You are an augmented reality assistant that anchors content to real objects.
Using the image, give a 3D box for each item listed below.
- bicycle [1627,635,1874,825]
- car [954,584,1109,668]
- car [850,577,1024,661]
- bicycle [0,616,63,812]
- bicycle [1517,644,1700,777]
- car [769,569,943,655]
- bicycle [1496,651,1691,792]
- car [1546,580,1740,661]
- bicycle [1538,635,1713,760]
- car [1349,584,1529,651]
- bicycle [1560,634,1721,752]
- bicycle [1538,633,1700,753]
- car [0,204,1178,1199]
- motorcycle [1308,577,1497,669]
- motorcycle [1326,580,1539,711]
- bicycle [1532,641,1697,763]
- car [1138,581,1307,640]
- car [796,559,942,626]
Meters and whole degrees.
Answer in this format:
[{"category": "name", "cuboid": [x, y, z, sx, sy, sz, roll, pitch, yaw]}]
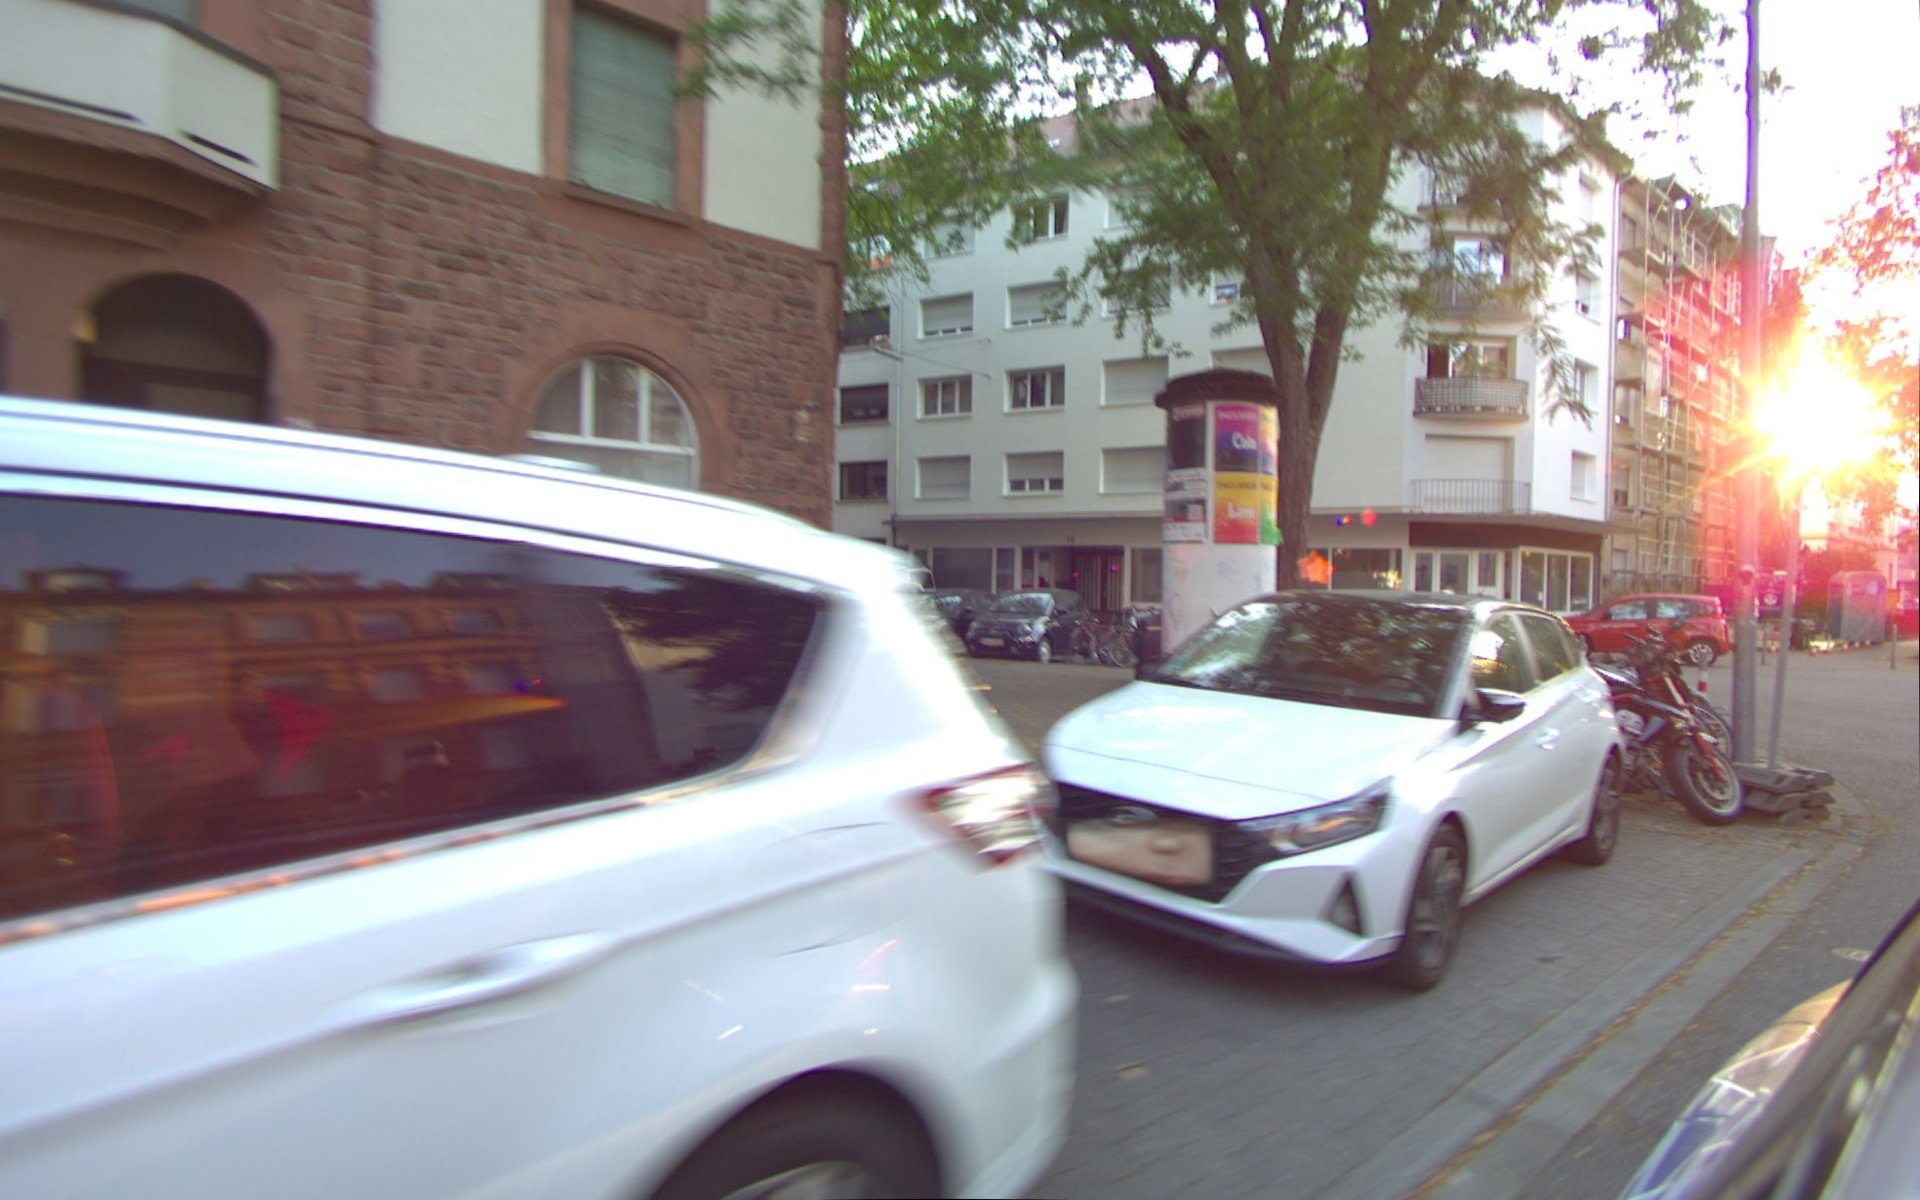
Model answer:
[{"category": "bicycle", "cuboid": [5.407, 0.852, 6.926, 1.602, 1.187, 0.446, 0, 1, -15]}, {"category": "car", "cuboid": [1.495, 0.435, 20.105, 1.669, 1.496, 3.394, 1, 1, 32]}, {"category": "car", "cuboid": [-0.380, 0.330, 21.456, 1.812, 1.573, 3.954, 1, 1, 32]}, {"category": "bicycle", "cuboid": [-5.970, 0.670, 6.475, 0.325, 1.047, 1.512, 2, 2, -42]}, {"category": "bicycle", "cuboid": [5.303, 0.883, 8.341, 1.217, 0.959, 0.327, 2, 0, 28]}, {"category": "car", "cuboid": [-2.238, 0.212, 22.852, 1.763, 1.742, 4.096, 1, 1, 32]}, {"category": "bicycle", "cuboid": [4.897, 0.919, 7.883, 1.214, 0.963, 0.328, 2, 0, 23]}, {"category": "car", "cuboid": [15.177, 0.422, 22.720, 3.450, 1.593, 1.608, 2, 1, 31]}, {"category": "bicycle", "cuboid": [5.779, 0.824, 8.845, 1.217, 0.969, 0.327, 2, 0, 28]}, {"category": "car", "cuboid": [11.656, 0.384, 24.720, 3.863, 1.527, 1.609, 1, 0, 30]}, {"category": "bicycle", "cuboid": [6.623, 0.874, 9.890, 0.325, 0.999, 1.226, 2, 1, -42]}, {"category": "bicycle", "cuboid": [6.294, 0.860, 9.712, 0.325, 1.000, 1.226, 2, 2, -43]}, {"category": "car", "cuboid": [-1.834, 0.515, 1.117, 4.524, 1.732, 1.800, -1, 2, -43]}, {"category": "motorcycle", "cuboid": [5.711, 0.289, 13.123, 2.174, 1.093, 0.437, 2, 0, 5]}, {"category": "motorcycle", "cuboid": [5.558, 0.516, 11.997, 2.173, 1.426, 0.585, 2, 0, 4]}, {"category": "bicycle", "cuboid": [5.946, 0.904, 9.246, 1.219, 0.975, 0.326, 2, 0, 34]}, {"category": "car", "cuboid": [7.085, 0.235, 27.345, 4.194, 1.446, 1.642, 1, 2, 27]}, {"category": "car", "cuboid": [-2.985, -0.279, 32.926, 4.433, 2.043, 1.891, 1, 2, 27]}]
